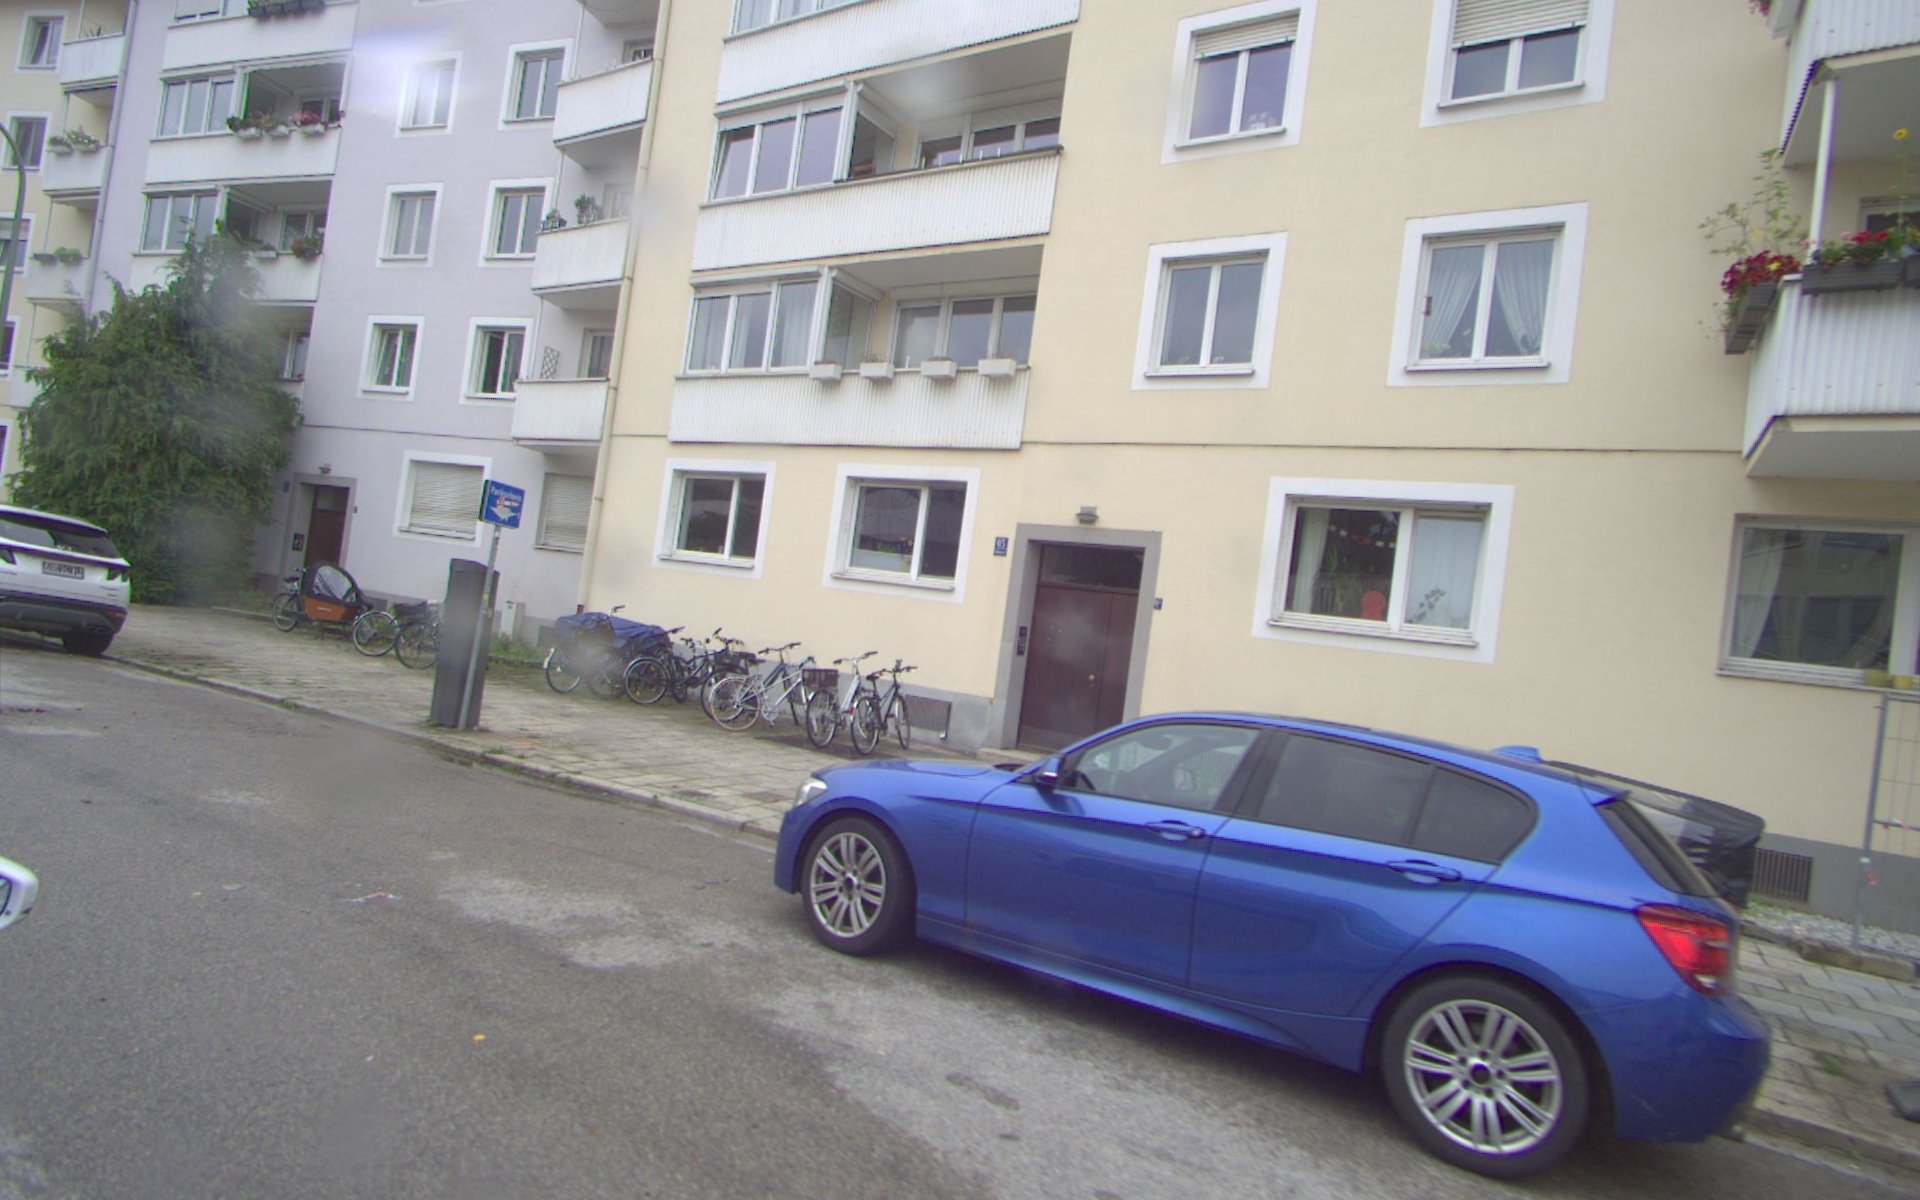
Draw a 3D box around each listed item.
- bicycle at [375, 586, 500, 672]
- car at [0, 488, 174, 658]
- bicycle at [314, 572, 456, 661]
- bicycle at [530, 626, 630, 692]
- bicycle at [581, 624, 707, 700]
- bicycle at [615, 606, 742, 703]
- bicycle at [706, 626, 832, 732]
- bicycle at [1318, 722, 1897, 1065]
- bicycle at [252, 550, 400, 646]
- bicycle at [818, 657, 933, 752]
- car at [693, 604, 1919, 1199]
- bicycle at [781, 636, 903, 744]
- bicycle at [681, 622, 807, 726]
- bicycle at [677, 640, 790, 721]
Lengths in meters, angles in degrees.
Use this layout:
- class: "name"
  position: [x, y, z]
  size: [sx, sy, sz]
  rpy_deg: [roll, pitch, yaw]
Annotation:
- class: "bicycle"
  position: [-7.927, 0.447, 15.360]
  size: [0.567, 1.172, 1.833]
  rpy_deg: [7, 0, 12]
- class: "car"
  position: [-12.077, -0.558, 11.998]
  size: [4.527, 1.695, 2.036]
  rpy_deg: [8, -3, 21]
- class: "bicycle"
  position: [-9.119, 0.253, 15.988]
  size: [1.799, 1.172, 0.577]
  rpy_deg: [7, 1, -1]
- class: "bicycle"
  position: [-5.503, 0.843, 14.646]
  size: [0.436, 0.868, 1.472]
  rpy_deg: [7, 1, 20]
- class: "bicycle"
  position: [-4.568, 0.925, 14.637]
  size: [0.426, 0.954, 1.699]
  rpy_deg: [7, -1, 40]
- class: "bicycle"
  position: [-4.022, 0.811, 14.492]
  size: [0.426, 1.236, 1.699]
  rpy_deg: [7, -1, 39]
- class: "bicycle"
  position: [-2.416, 1.028, 12.928]
  size: [0.425, 1.236, 1.703]
  rpy_deg: [7, -1, 32]
- class: "bicycle"
  position: [3.771, 1.643, 6.221]
  size: [2.727, 1.339, 0.811]
  rpy_deg: [6, 0, 29]
- class: "bicycle"
  position: [-11.139, -0.038, 17.668]
  size: [2.425, 1.385, 0.744]
  rpy_deg: [7, 2, 19]
- class: "bicycle"
  position: [-1.010, 1.289, 12.418]
  size: [0.362, 1.048, 1.703]
  rpy_deg: [7, -1, 32]
- class: "car"
  position: [1.172, 1.114, 4.665]
  size: [4.550, 1.457, 1.837]
  rpy_deg: [7, -4, 30]
- class: "bicycle"
  position: [-1.449, 1.145, 12.687]
  size: [0.425, 1.236, 1.703]
  rpy_deg: [7, -1, 32]
- class: "bicycle"
  position: [-2.796, 0.986, 13.188]
  size: [0.425, 1.236, 1.703]
  rpy_deg: [7, -1, 32]
- class: "bicycle"
  position: [-3.075, 1.102, 13.762]
  size: [0.473, 1.002, 1.501]
  rpy_deg: [7, 0, 33]
